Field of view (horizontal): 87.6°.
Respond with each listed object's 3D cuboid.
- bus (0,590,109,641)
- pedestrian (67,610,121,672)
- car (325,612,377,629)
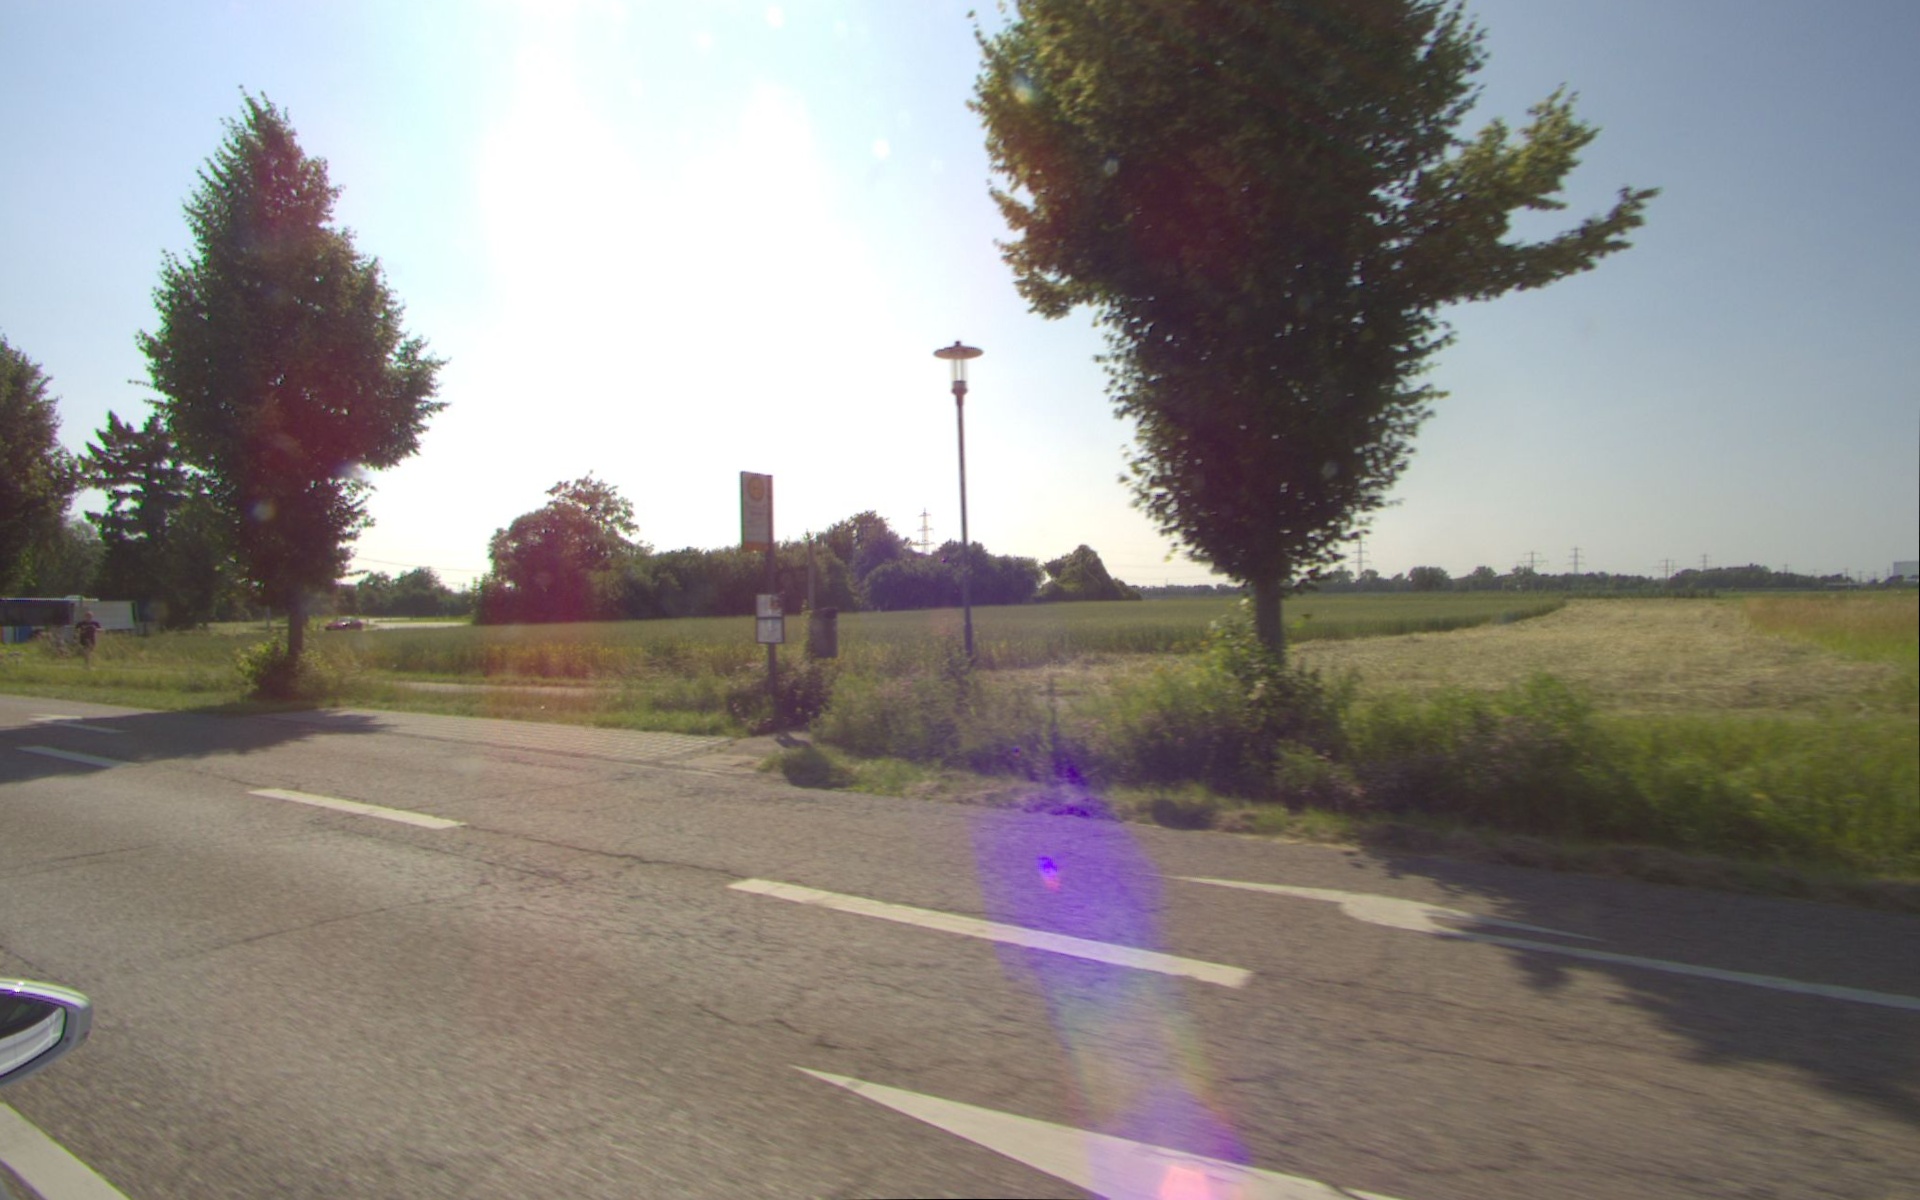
[{"bbox_3d":[-56.240,0.936,57.173,2.889,2.915,11.957,-1,0,17],"label":"bus"},{"bbox_3d":[-26.644,1.238,30.821,1.177,1.864,0.900,0,1,30],"label":"pedestrian"},{"bbox_3d":[-53.960,1.789,88.813,1.649,1.416,3.998,0,0,10],"label":"car"}]
